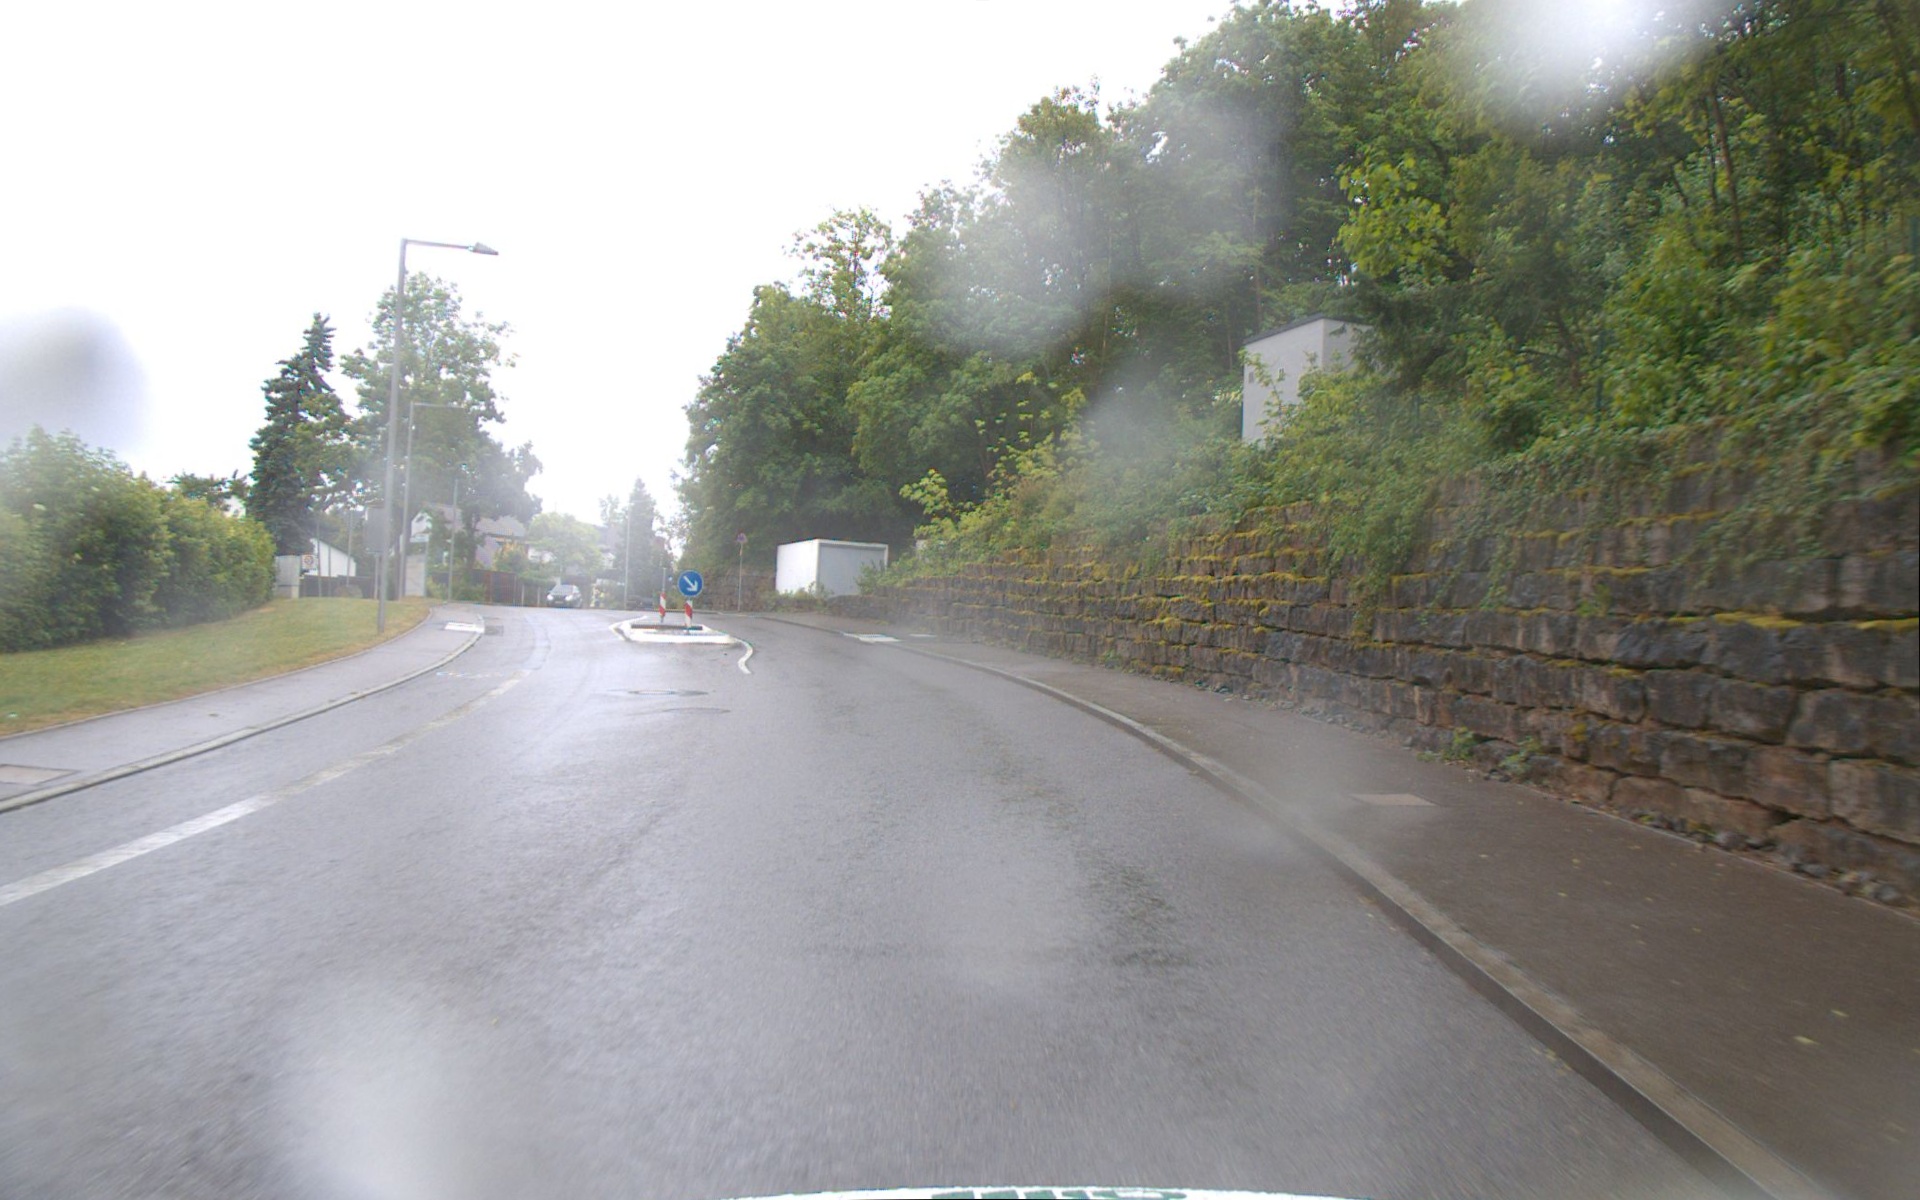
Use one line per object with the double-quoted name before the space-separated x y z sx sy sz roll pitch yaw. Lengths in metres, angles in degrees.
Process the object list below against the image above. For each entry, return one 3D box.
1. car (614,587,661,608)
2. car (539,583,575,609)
"car" -25.087 -0.191 128.683 1.922 1.413 3.944 7 -3 -39
"car" -24.778 -0.241 101.784 1.799 1.547 4.615 1 0 -10
